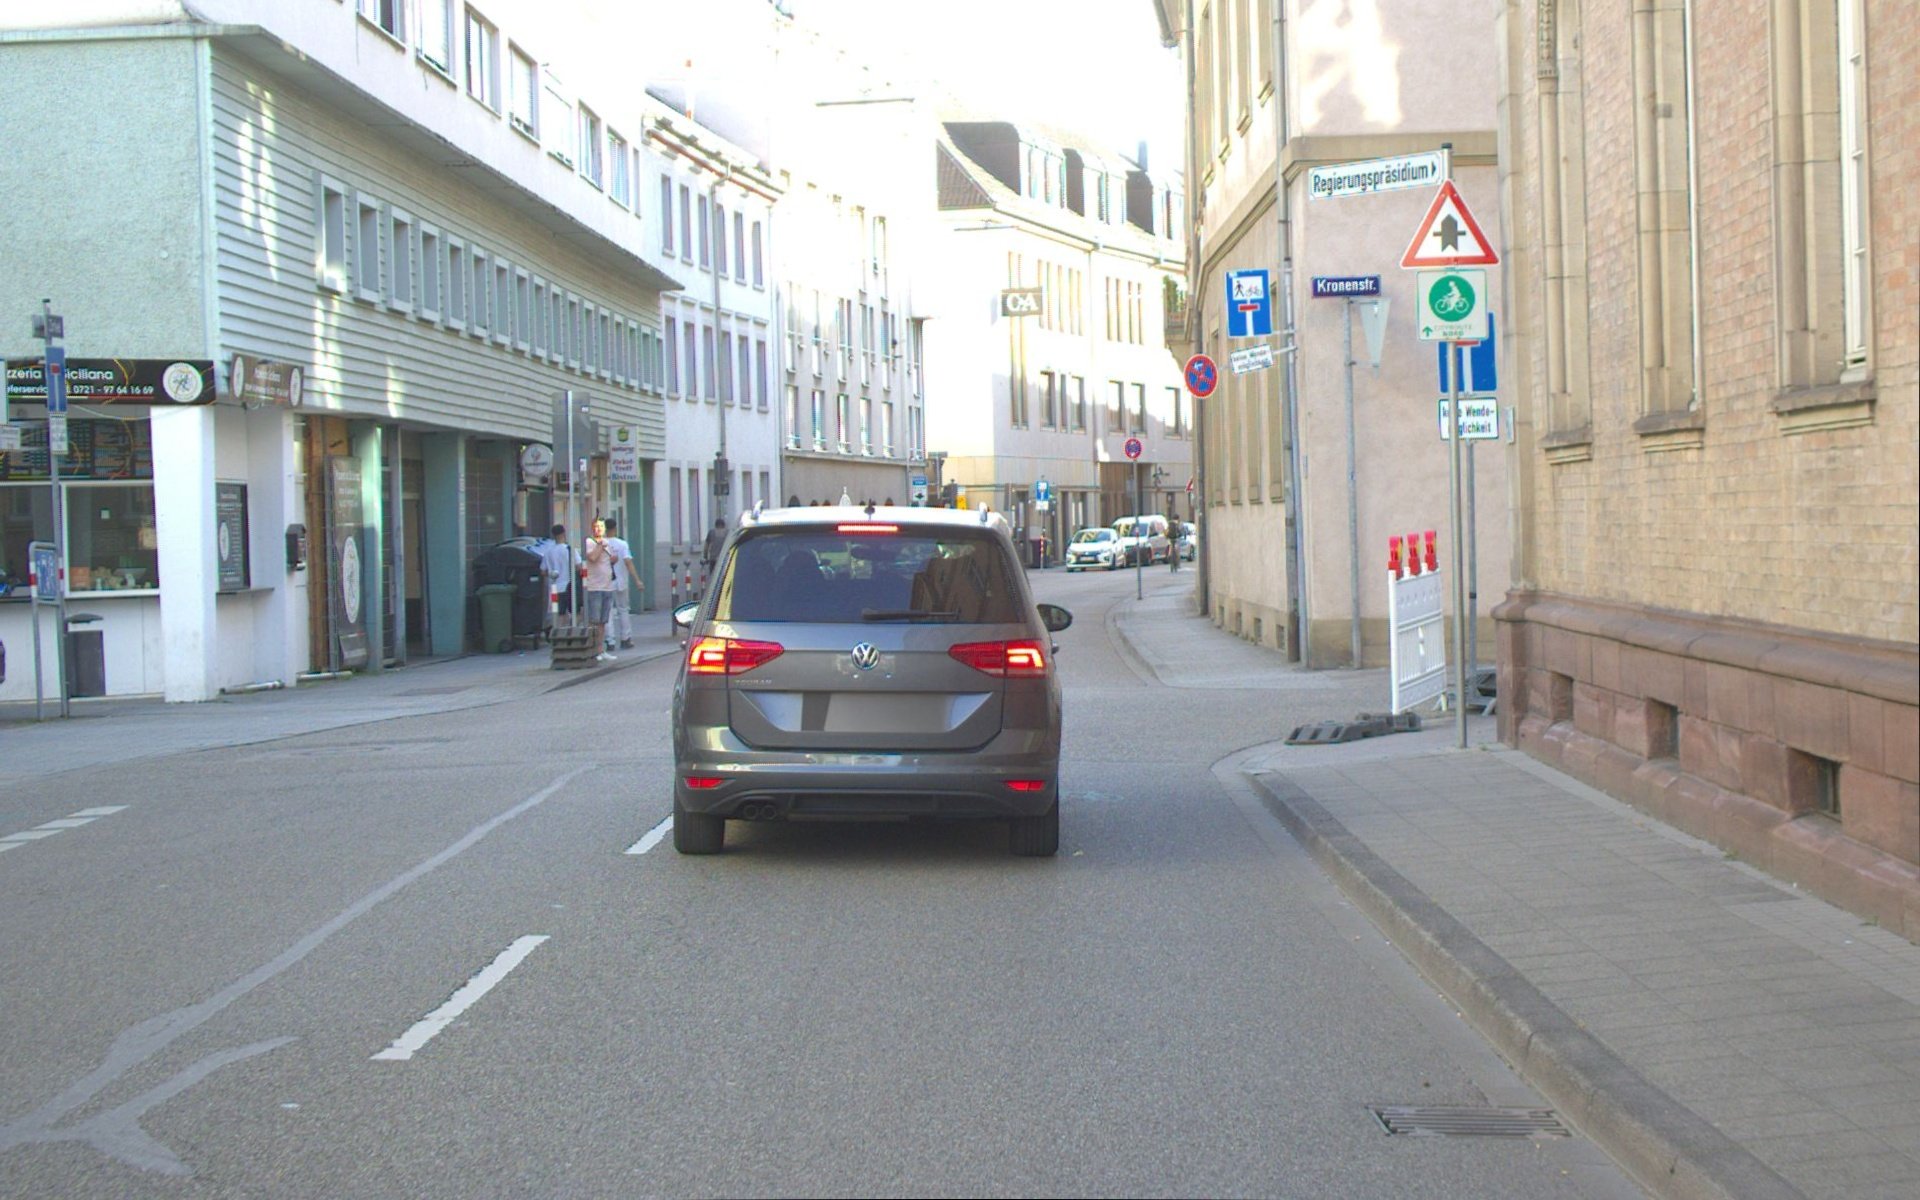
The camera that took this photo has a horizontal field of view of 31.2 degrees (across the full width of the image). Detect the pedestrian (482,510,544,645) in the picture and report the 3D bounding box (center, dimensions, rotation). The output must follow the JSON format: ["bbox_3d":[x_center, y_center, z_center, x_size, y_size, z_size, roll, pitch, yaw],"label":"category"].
[{"bbox_3d":[-6.150,-0.312,47.309,0.728,1.823,0.557,-1,1,0],"label":"pedestrian"}]

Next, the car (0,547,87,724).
[{"bbox_3d":[-9.869,0.342,29.655,4.098,1.438,1.948,-2,2,2],"label":"car"}]

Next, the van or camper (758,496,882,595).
[{"bbox_3d":[-2.948,-1.185,73.374,1.994,2.007,4.482,-1,1,6],"label":"van or camper"}]

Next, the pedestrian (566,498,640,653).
[{"bbox_3d":[-4.267,-0.297,41.138,0.556,1.823,0.730,-1,1,24],"label":"pedestrian"}]

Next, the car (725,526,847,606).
[{"bbox_3d":[-3.396,-0.692,67.651,1.866,1.463,3.833,-1,2,5],"label":"car"}]

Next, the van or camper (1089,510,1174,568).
[{"bbox_3d":[6.291,-2.235,125.466,1.995,2.007,4.995,-1,2,16],"label":"van or camper"}]

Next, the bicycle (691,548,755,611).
[{"bbox_3d":[-4.262,-0.382,61.970,0.831,1.050,2.549,-1,2,3],"label":"bicycle"}]

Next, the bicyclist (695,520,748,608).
[{"bbox_3d":[-4.279,-0.650,61.814,0.831,1.556,0.759,-1,1,3],"label":"bicyclist"}]

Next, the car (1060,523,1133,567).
[{"bbox_3d":[4.762,-1.921,119.749,1.735,1.463,3.998,-1,1,14],"label":"car"}]

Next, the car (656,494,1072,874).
[{"bbox_3d":[-0.433,0.324,16.904,1.762,1.601,4.000,2,1,-1],"label":"car"}]

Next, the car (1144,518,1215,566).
[{"bbox_3d":[8.431,-2.234,131.740,1.827,1.720,3.997,-1,1,17],"label":"car"}]

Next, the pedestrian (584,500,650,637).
[{"bbox_3d":[-4.637,-0.431,46.506,0.556,1.823,0.730,-1,1,24],"label":"pedestrian"}]
